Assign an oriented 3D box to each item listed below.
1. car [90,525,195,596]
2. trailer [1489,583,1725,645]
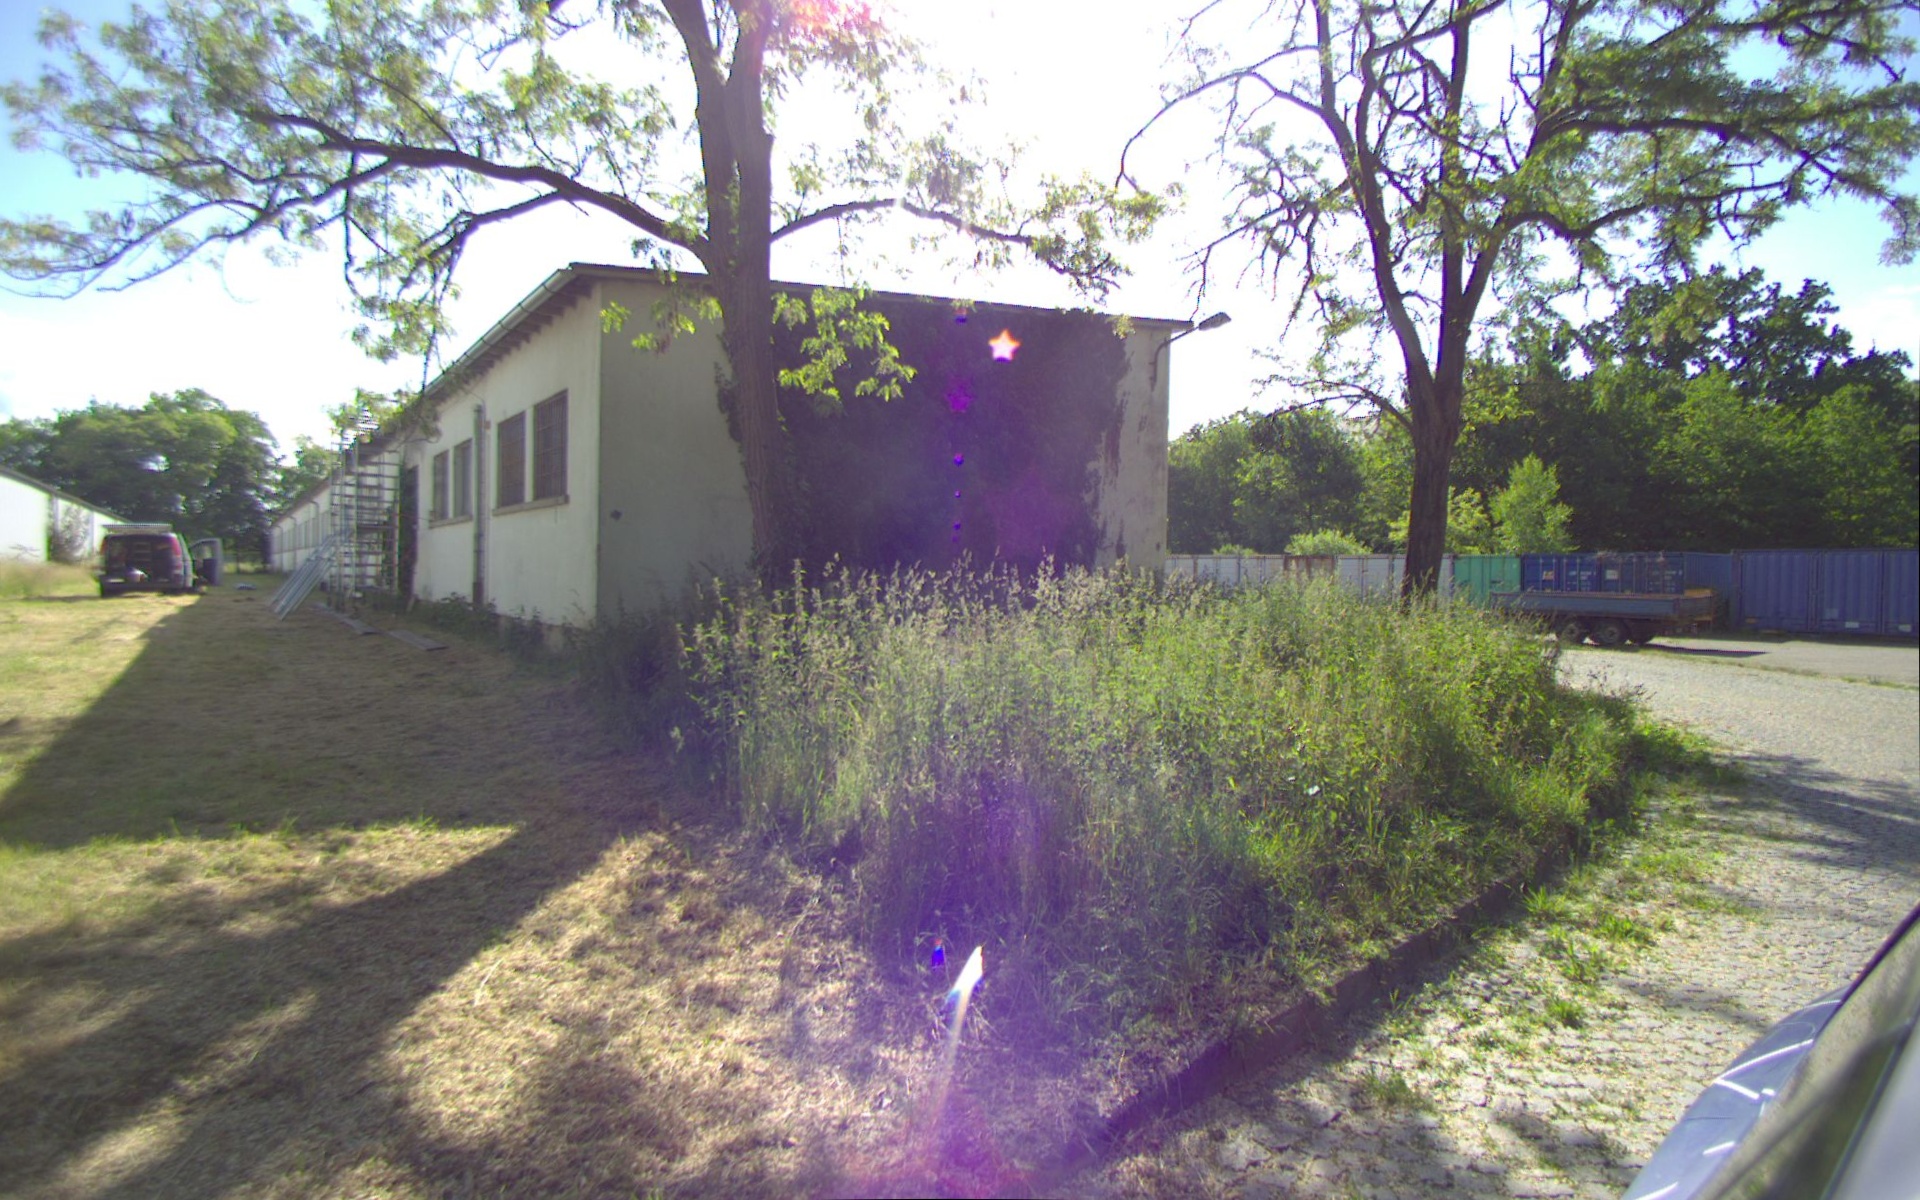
[{"bbox_3d":[-23.316,-1.158,29.021,2.040,1.852,4.274,-3,4,-36],"label":"car"},{"bbox_3d":[17.644,0.306,27.810,2.600,1.432,4.861,-1,2,-36],"label":"trailer"}]
